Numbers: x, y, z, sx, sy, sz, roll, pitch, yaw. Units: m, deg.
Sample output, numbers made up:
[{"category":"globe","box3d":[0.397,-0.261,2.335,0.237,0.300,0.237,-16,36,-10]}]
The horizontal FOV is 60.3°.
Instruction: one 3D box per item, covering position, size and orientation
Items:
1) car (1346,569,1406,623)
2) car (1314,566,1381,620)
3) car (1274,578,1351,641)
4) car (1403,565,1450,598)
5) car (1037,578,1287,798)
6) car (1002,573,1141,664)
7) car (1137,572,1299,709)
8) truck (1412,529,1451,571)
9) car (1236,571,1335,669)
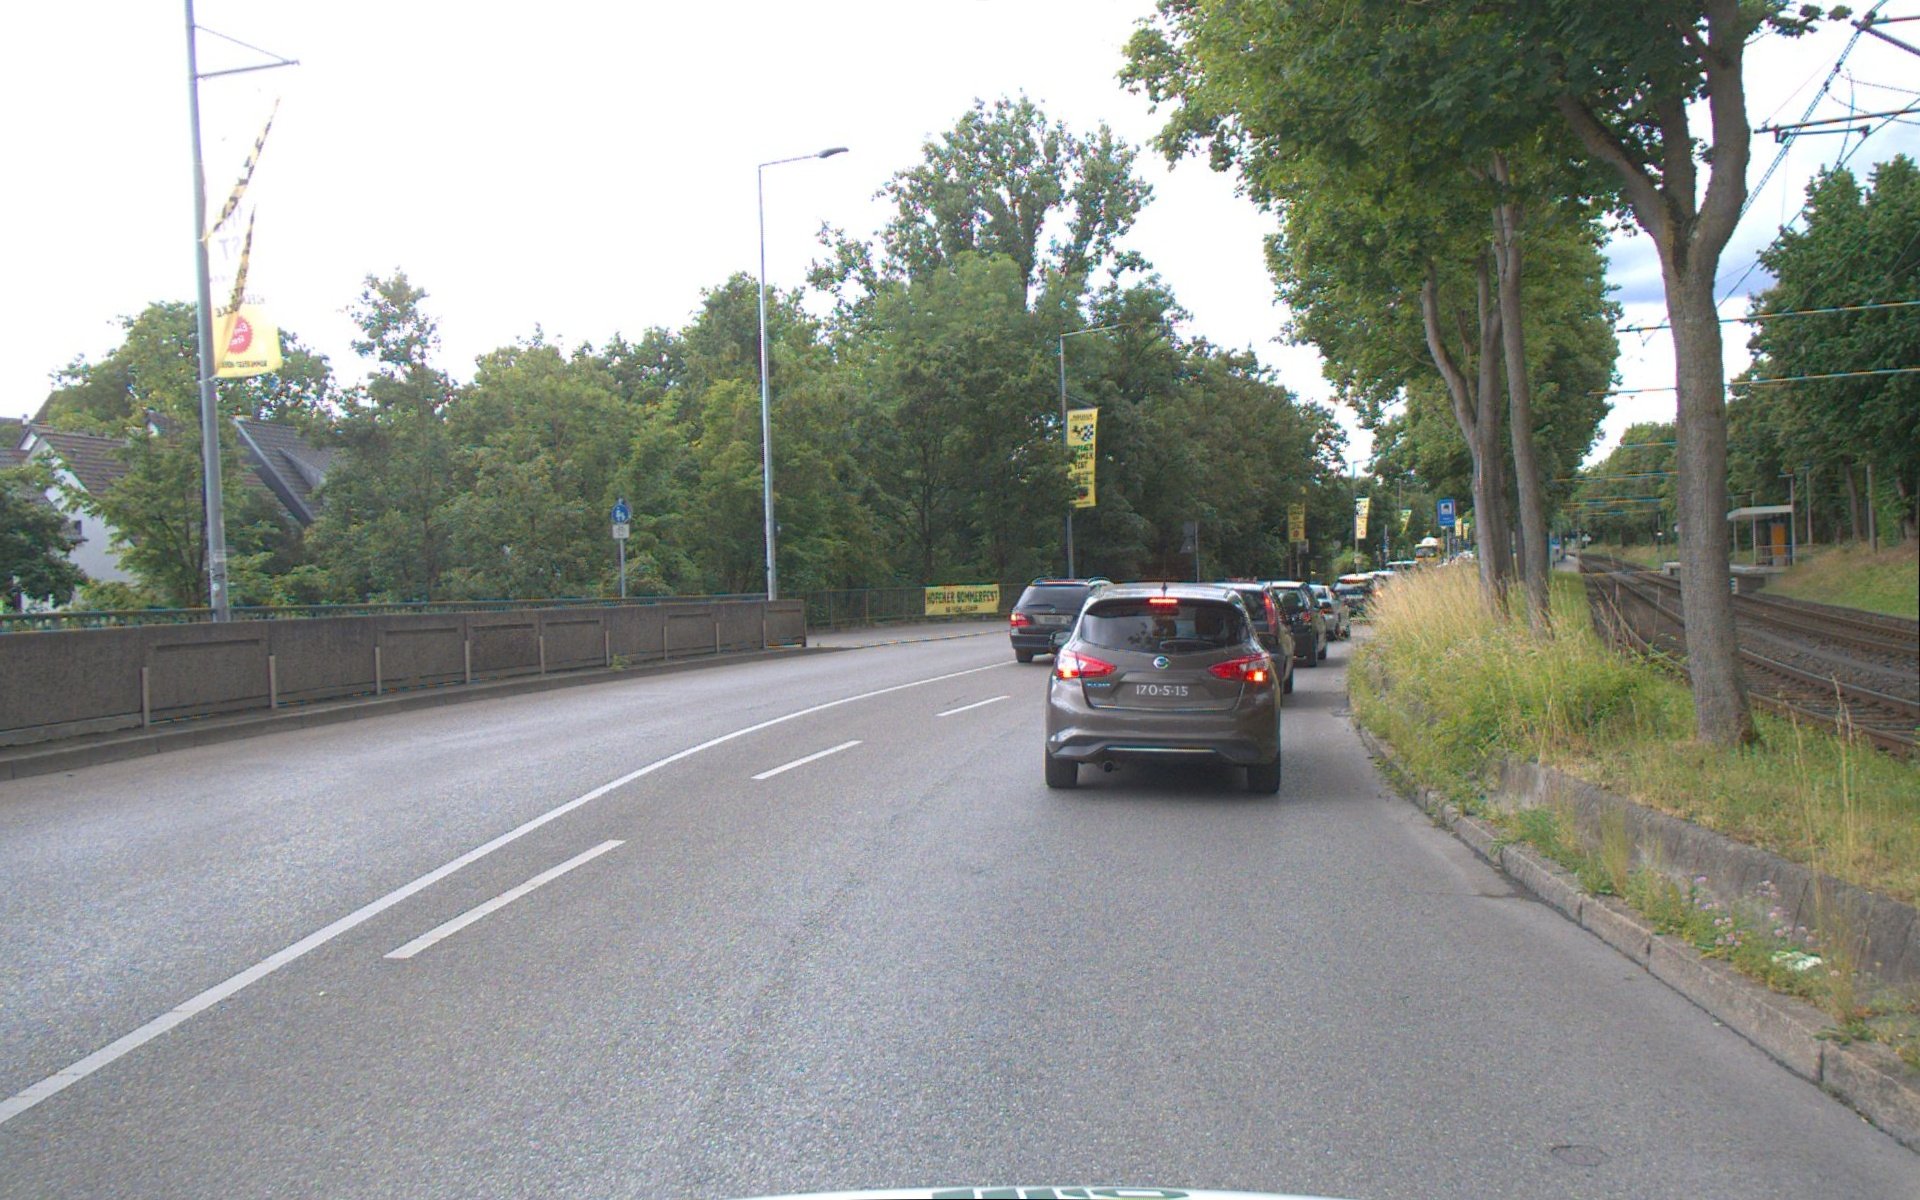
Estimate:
[{"category":"car","box3d":[14.225,-0.096,56.414,1.682,1.723,4.001,-2,-2,18]},{"category":"car","box3d":[11.714,-0.214,49.854,1.766,1.567,4.003,0,0,16]},{"category":"car","box3d":[8.516,0.210,39.839,1.468,1.388,3.589,-2,0,17]},{"category":"car","box3d":[21.814,-0.863,77.295,1.851,1.470,3.808,-1,0,20]},{"category":"car","box3d":[1.690,0.619,13.561,1.737,1.520,4.003,0,0,8]},{"category":"car","box3d":[2.128,0.293,30.300,1.812,1.512,4.425,-1,0,13]},{"category":"car","box3d":[3.456,0.495,21.602,1.852,1.601,4.003,-1,0,12]},{"category":"truck","box3d":[47.114,-4.937,165.101,2.600,4.007,10.111,0,1,22]},{"category":"car","box3d":[5.738,0.334,29.246,1.544,1.565,4.003,-2,0,11]}]
